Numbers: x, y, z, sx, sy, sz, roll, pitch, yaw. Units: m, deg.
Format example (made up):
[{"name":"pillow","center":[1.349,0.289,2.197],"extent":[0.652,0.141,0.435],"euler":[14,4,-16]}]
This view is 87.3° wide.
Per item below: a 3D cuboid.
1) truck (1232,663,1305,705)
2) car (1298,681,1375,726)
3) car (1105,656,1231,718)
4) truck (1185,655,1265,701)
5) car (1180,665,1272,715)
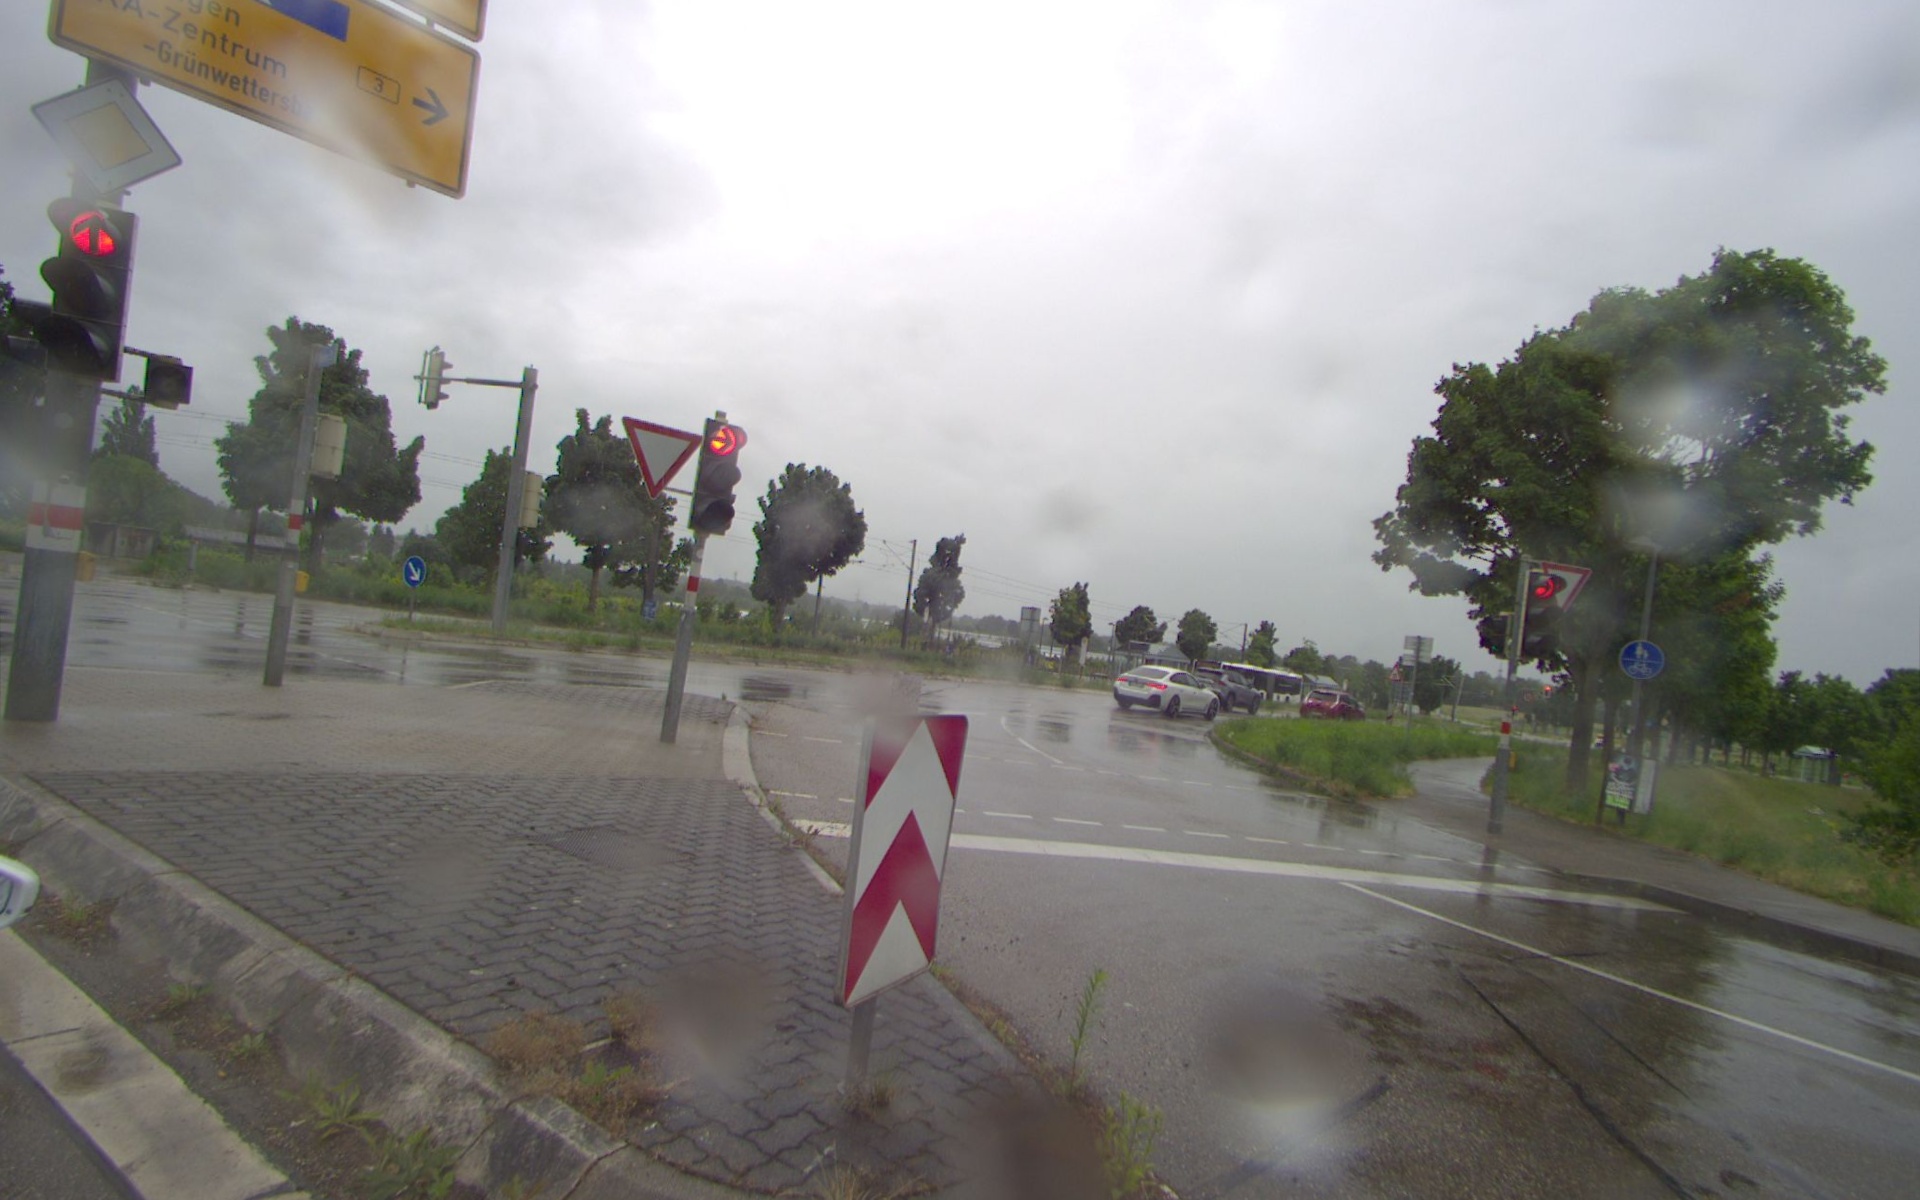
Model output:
[{"name":"truck","center":[26.972,7.380,87.639],"extent":[2.617,2.804,9.323],"euler":[7,-2,39]},{"name":"car","center":[16.573,4.559,44.168],"extent":[1.707,1.598,4.374],"euler":[7,-2,40]},{"name":"car","center":[6.654,2.805,31.819],"extent":[1.773,1.572,4.881],"euler":[7,-1,38]},{"name":"truck","center":[21.319,6.330,80.554],"extent":[2.617,2.864,8.820],"euler":[7,-2,39]},{"name":"car","center":[11.266,3.823,42.366],"extent":[1.885,1.597,4.527],"euler":[7,-3,40]}]
